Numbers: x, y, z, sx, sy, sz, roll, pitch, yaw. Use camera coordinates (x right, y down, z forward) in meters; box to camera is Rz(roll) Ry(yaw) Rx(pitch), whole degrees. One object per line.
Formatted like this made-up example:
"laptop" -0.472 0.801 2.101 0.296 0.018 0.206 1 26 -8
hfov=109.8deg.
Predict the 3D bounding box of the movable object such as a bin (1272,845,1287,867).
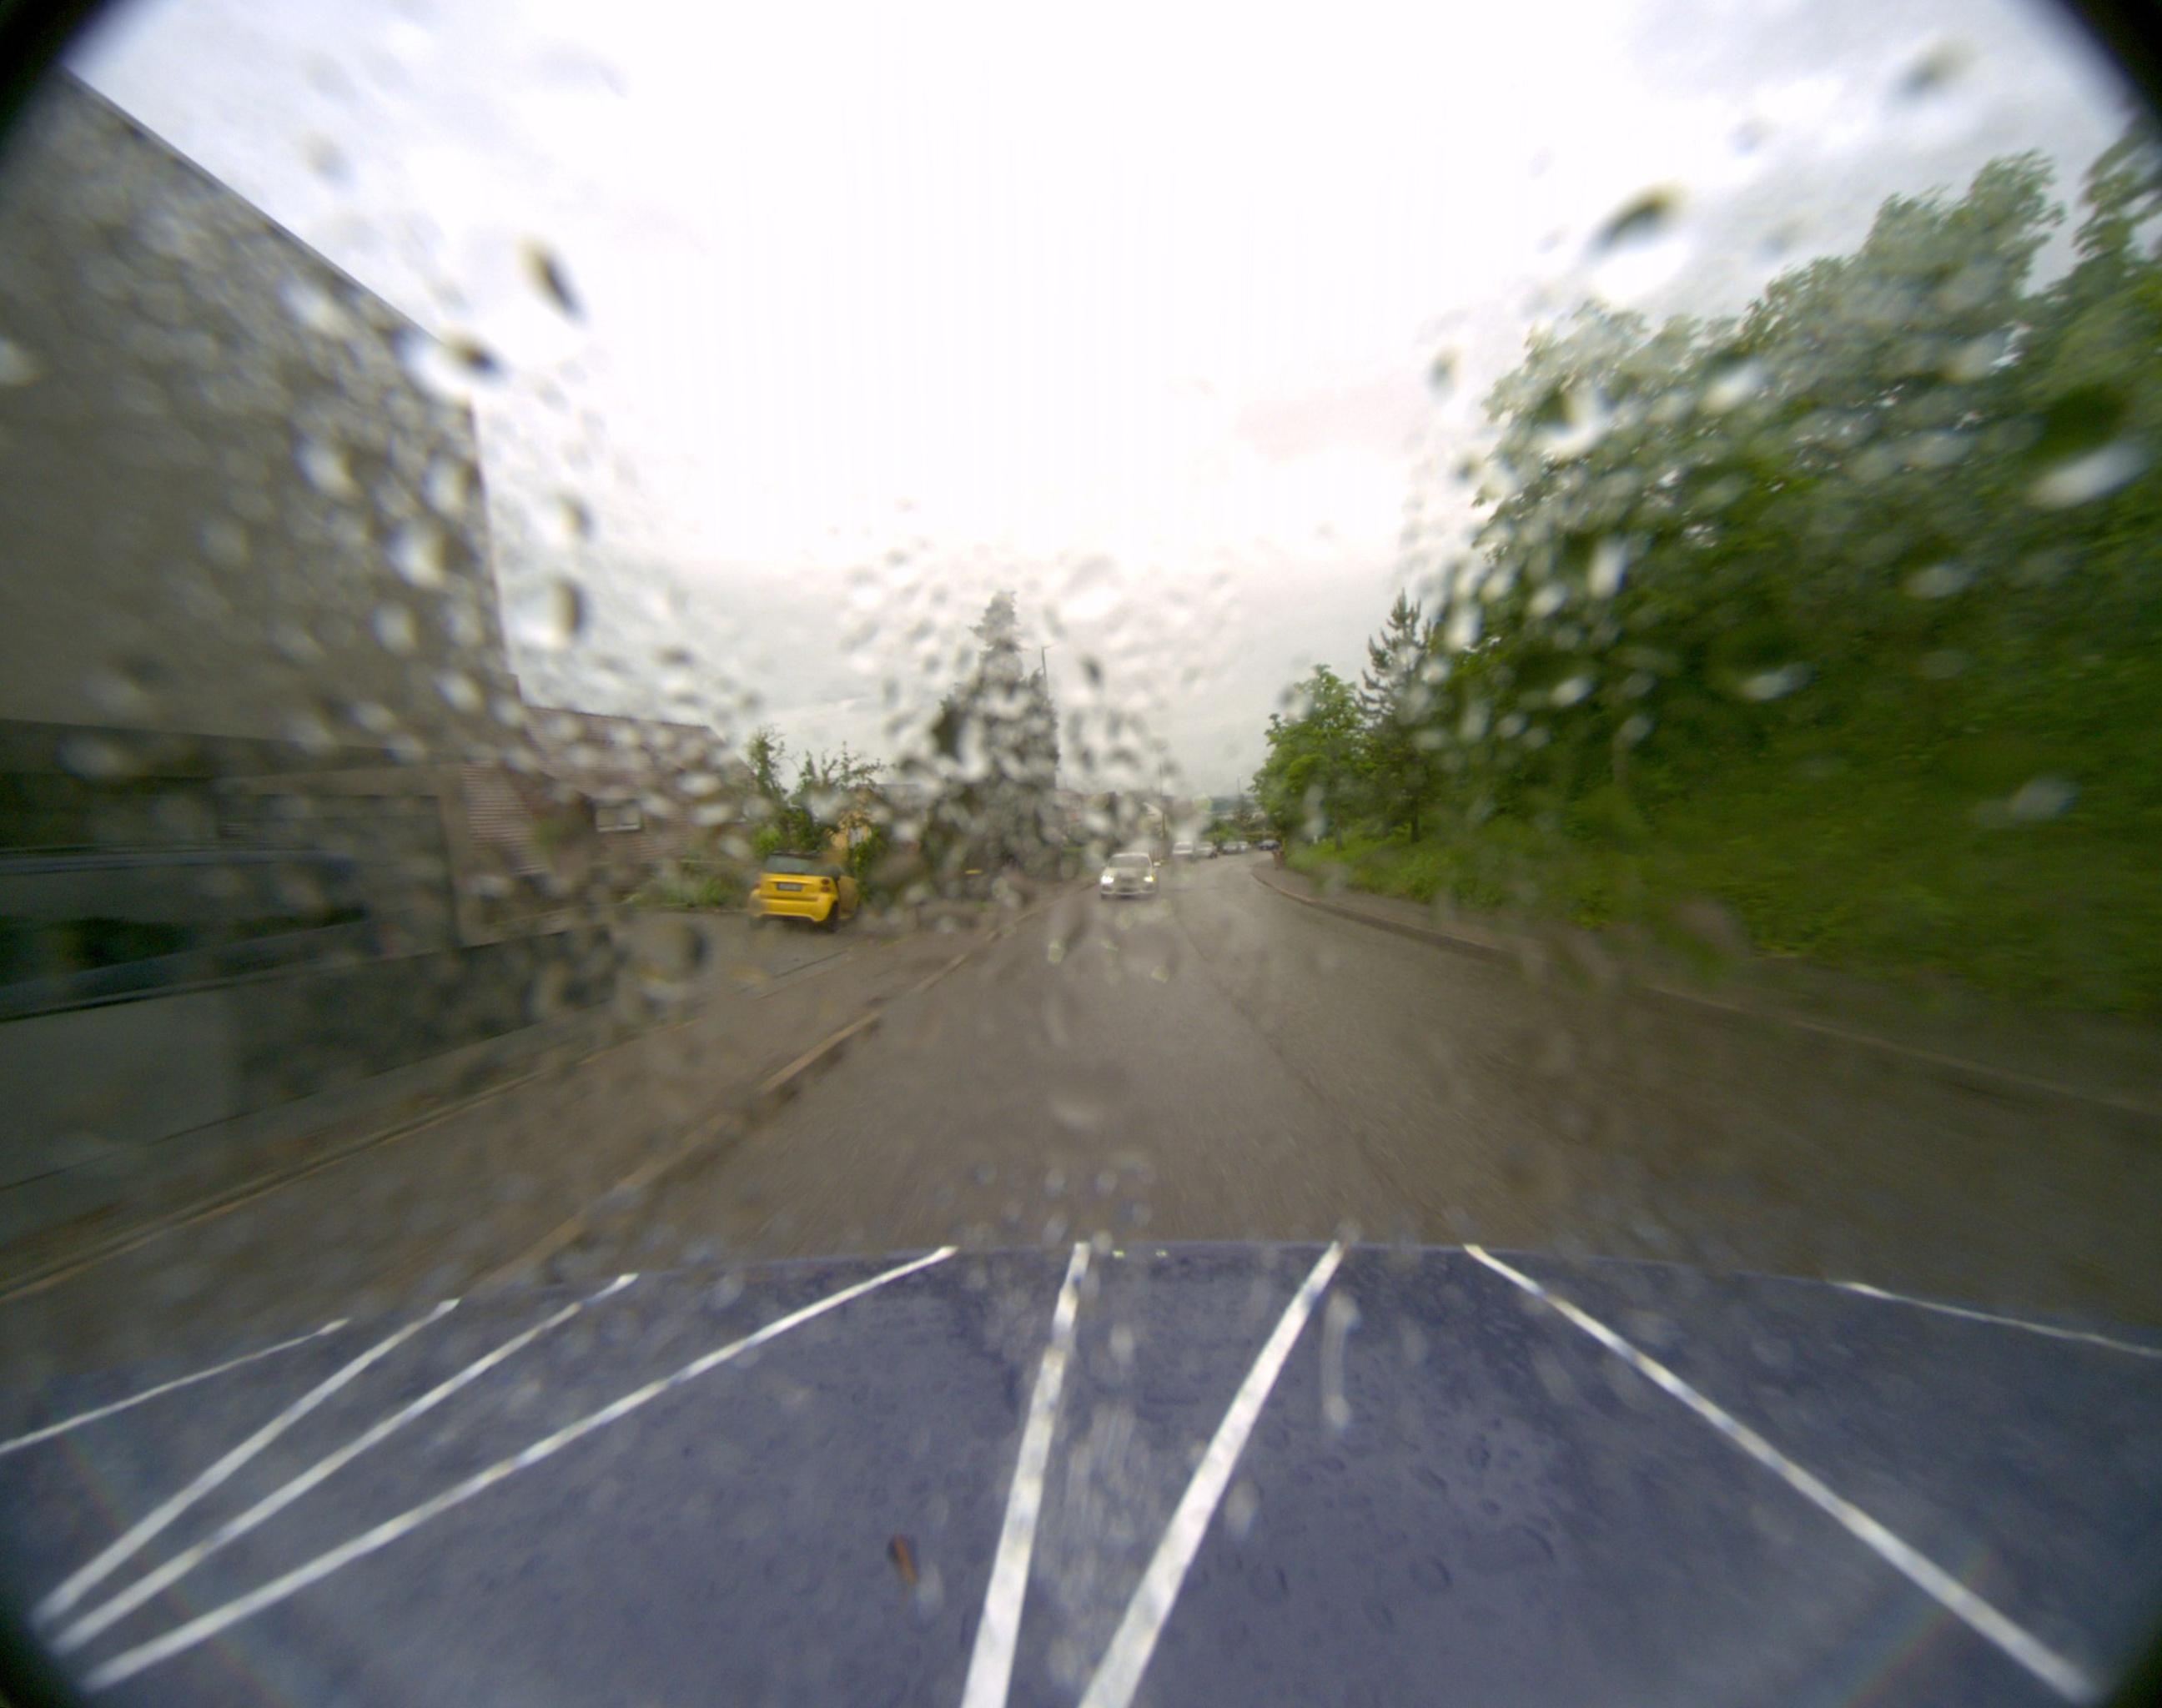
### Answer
"movable object such as a bin" 10.561 0.118 40.427 0.695 1.083 0.804 -4 -3 16

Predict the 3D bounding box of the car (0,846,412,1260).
"car" -6.364 1.082 3.598 1.998 1.930 4.770 -2 4 0

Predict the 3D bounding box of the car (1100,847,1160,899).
"car" 1.692 0.568 25.055 1.797 1.455 4.000 -1 2 6

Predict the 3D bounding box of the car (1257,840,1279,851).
"car" 27.170 -1.245 110.344 1.858 1.518 5.071 1 2 27

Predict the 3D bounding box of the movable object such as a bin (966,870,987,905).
"movable object such as a bin" -3.527 1.125 25.666 0.505 1.111 0.594 -6 1 5

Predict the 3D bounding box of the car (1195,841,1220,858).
"car" 12.991 -0.502 77.821 1.806 1.618 4.292 1 2 19

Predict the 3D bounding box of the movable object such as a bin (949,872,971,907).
"movable object such as a bin" -4.087 1.192 25.685 0.523 1.131 0.594 -6 1 5

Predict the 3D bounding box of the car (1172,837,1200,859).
"car" 9.070 -0.559 65.379 1.781 1.793 4.711 -1 2 15

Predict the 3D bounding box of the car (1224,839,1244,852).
"car" 18.519 -1.002 91.819 1.660 1.459 3.768 1 2 22

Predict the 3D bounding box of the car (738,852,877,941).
"car" -5.488 0.772 15.687 1.632 1.485 3.425 3 1 -1

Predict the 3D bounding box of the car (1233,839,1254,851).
"car" 20.665 -1.203 96.730 1.770 1.459 4.241 1 2 24

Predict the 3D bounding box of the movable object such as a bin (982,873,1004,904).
"movable object such as a bin" -2.964 1.147 25.610 0.505 0.964 0.594 -6 1 5
